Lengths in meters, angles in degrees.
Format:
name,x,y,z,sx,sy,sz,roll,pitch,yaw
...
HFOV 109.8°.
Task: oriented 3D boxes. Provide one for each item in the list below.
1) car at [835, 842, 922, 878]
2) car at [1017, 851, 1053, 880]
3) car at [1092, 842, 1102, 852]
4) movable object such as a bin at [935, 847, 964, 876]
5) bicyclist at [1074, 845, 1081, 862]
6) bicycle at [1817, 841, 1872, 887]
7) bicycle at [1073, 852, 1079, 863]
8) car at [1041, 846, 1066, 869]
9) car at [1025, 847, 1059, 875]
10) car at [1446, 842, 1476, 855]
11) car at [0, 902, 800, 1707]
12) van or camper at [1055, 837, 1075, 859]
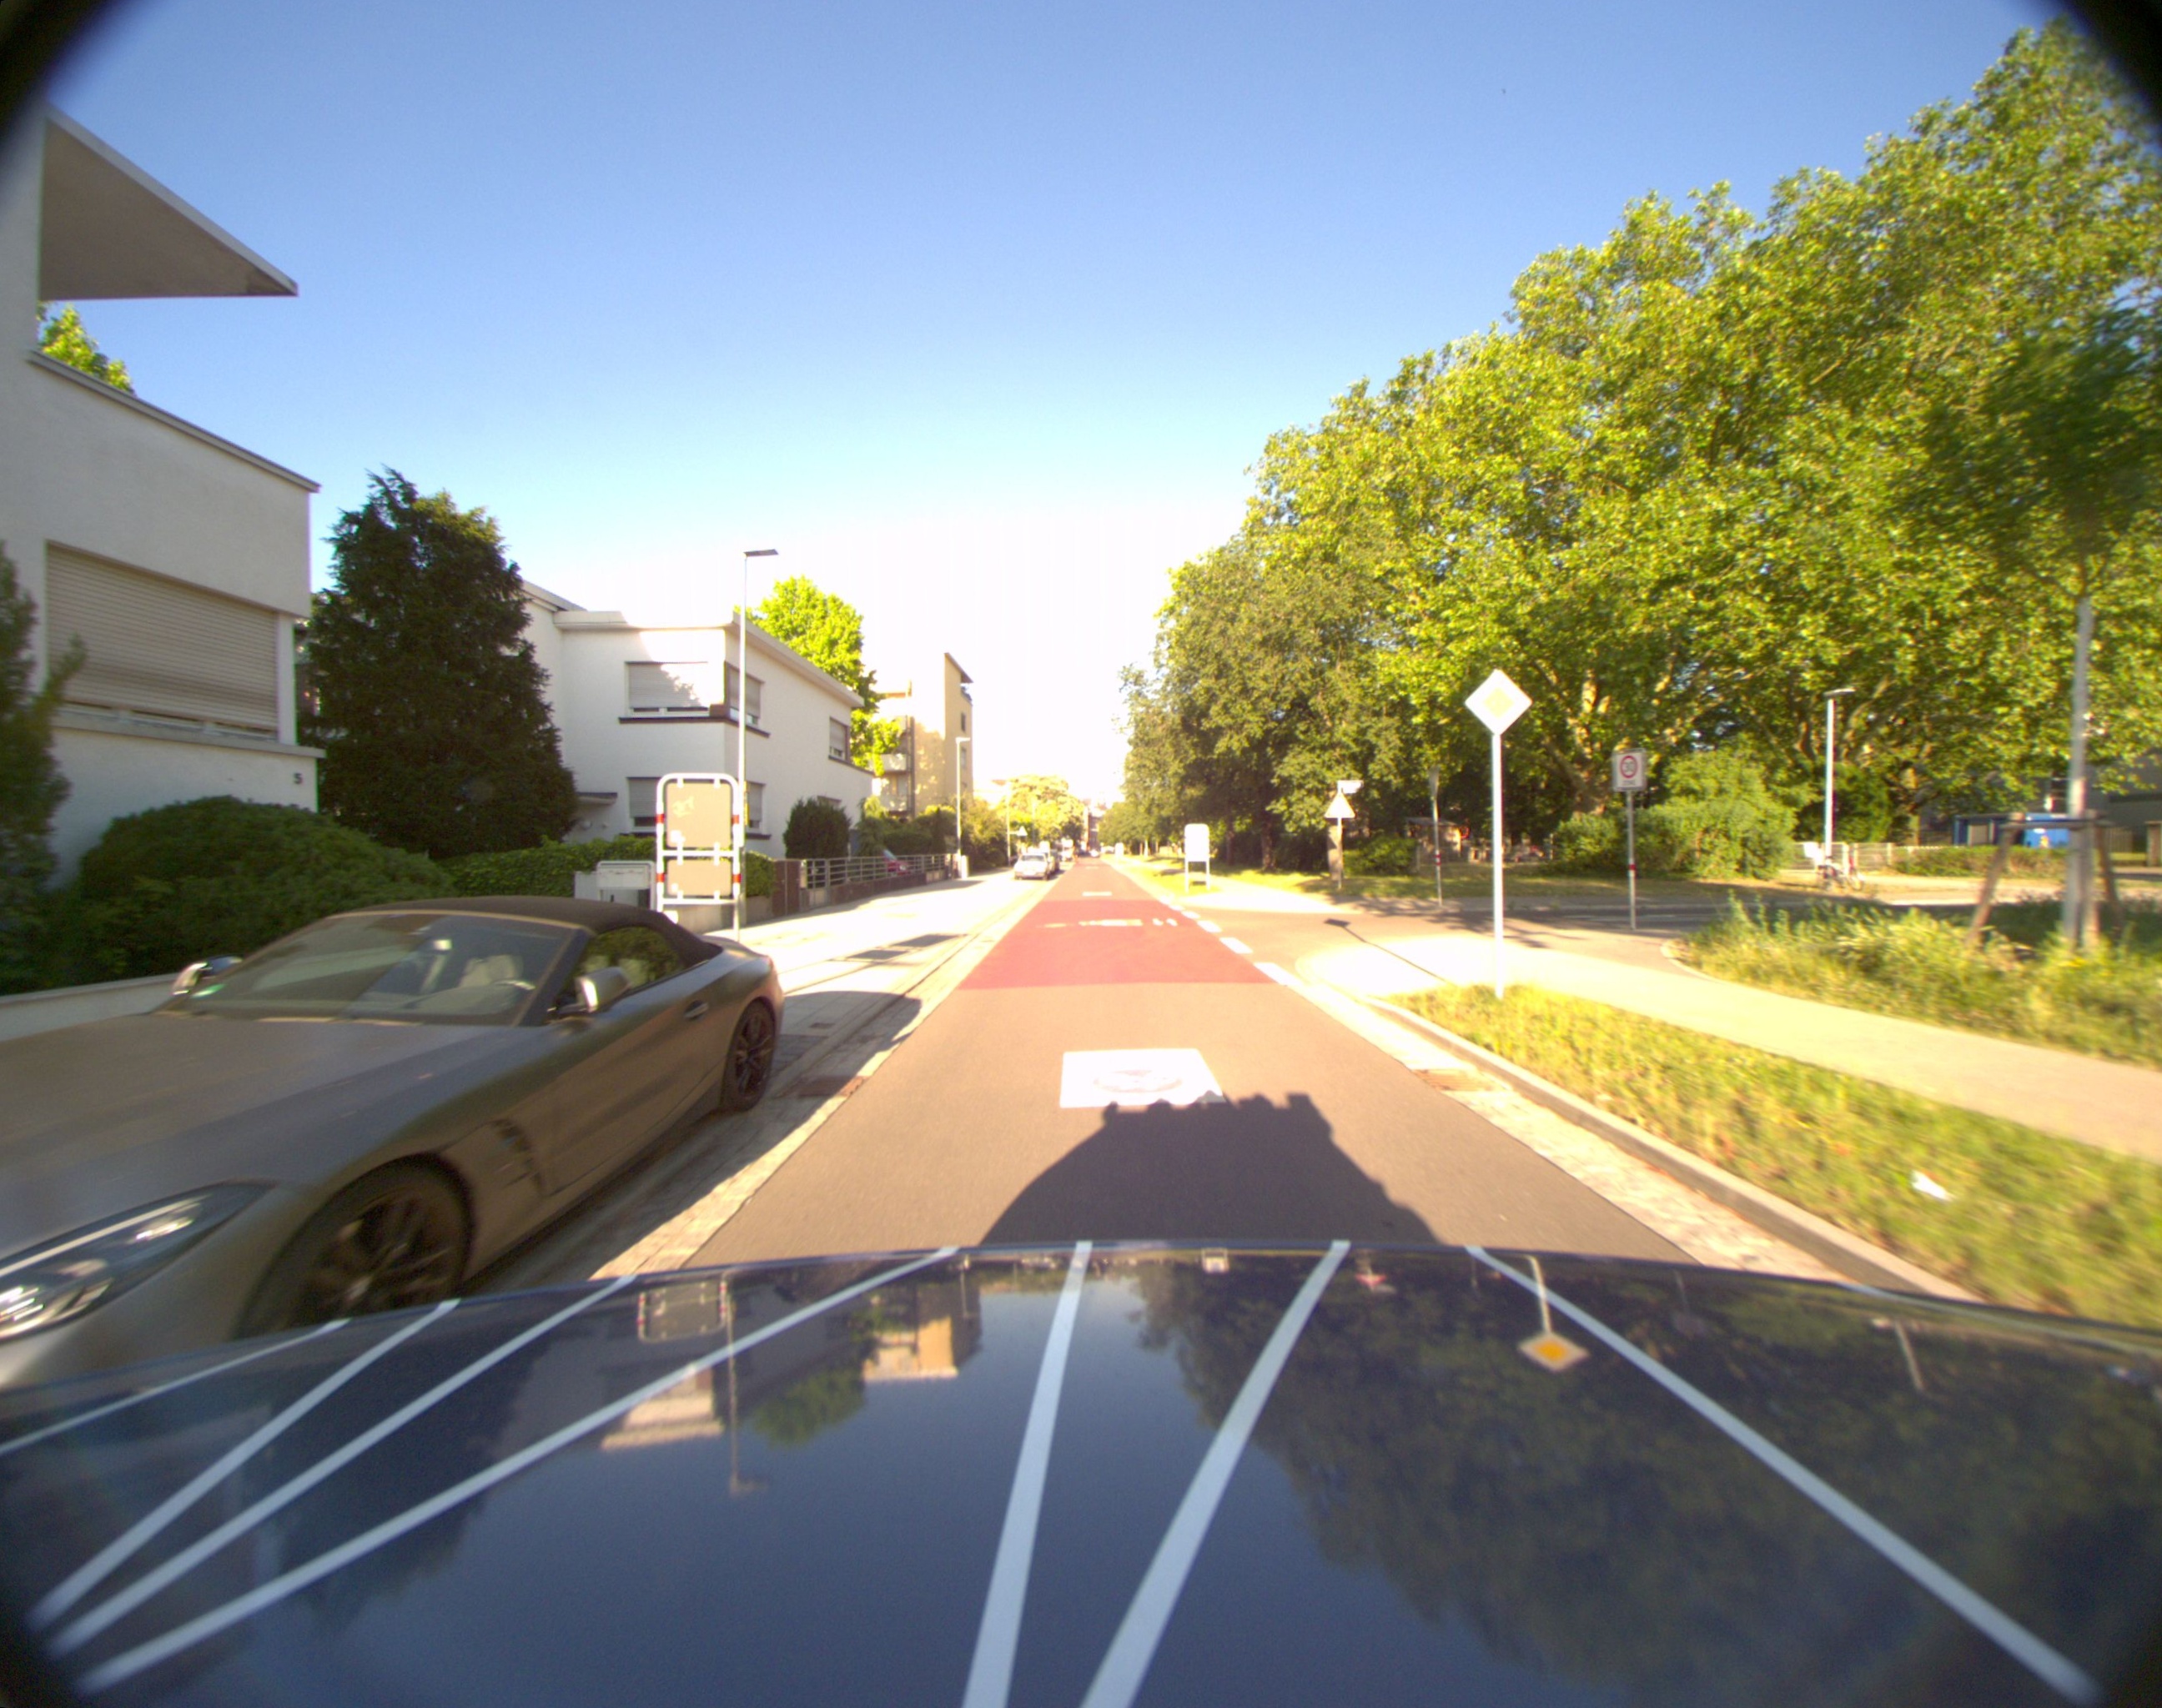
name,x,y,z,sx,sy,sz,roll,pitch,yaw
car,-9.457,0.276,35.601,3.499,1.632,1.644,-1,1,9
car,-2.372,0.548,40.129,1.567,1.382,4.374,1,1,1
car,3.276,-1.387,153.624,1.849,1.837,4.572,-1,1,-1
movable object such as a bin,-6.774,0.366,39.180,1.240,1.424,1.123,-1,1,3
bicyclist,-0.321,-0.053,76.032,0.683,1.663,1.172,0,2,0
bicycle,20.407,0.241,20.304,1.591,1.180,0.419,-1,2,-22
bicycle,-0.476,0.324,76.176,0.558,1.026,1.914,0,2,0
car,-2.039,0.259,56.977,1.714,1.601,4.167,1,1,-1
car,-2.296,0.395,45.672,1.683,1.547,4.130,1,1,2
car,43.275,-0.622,86.663,1.526,1.360,3.792,-1,1,0
car,-2.902,1.012,3.155,1.779,1.281,4.272,2,0,1
van or camper,-2.013,-0.794,98.299,2.427,2.767,5.951,2,1,-1
